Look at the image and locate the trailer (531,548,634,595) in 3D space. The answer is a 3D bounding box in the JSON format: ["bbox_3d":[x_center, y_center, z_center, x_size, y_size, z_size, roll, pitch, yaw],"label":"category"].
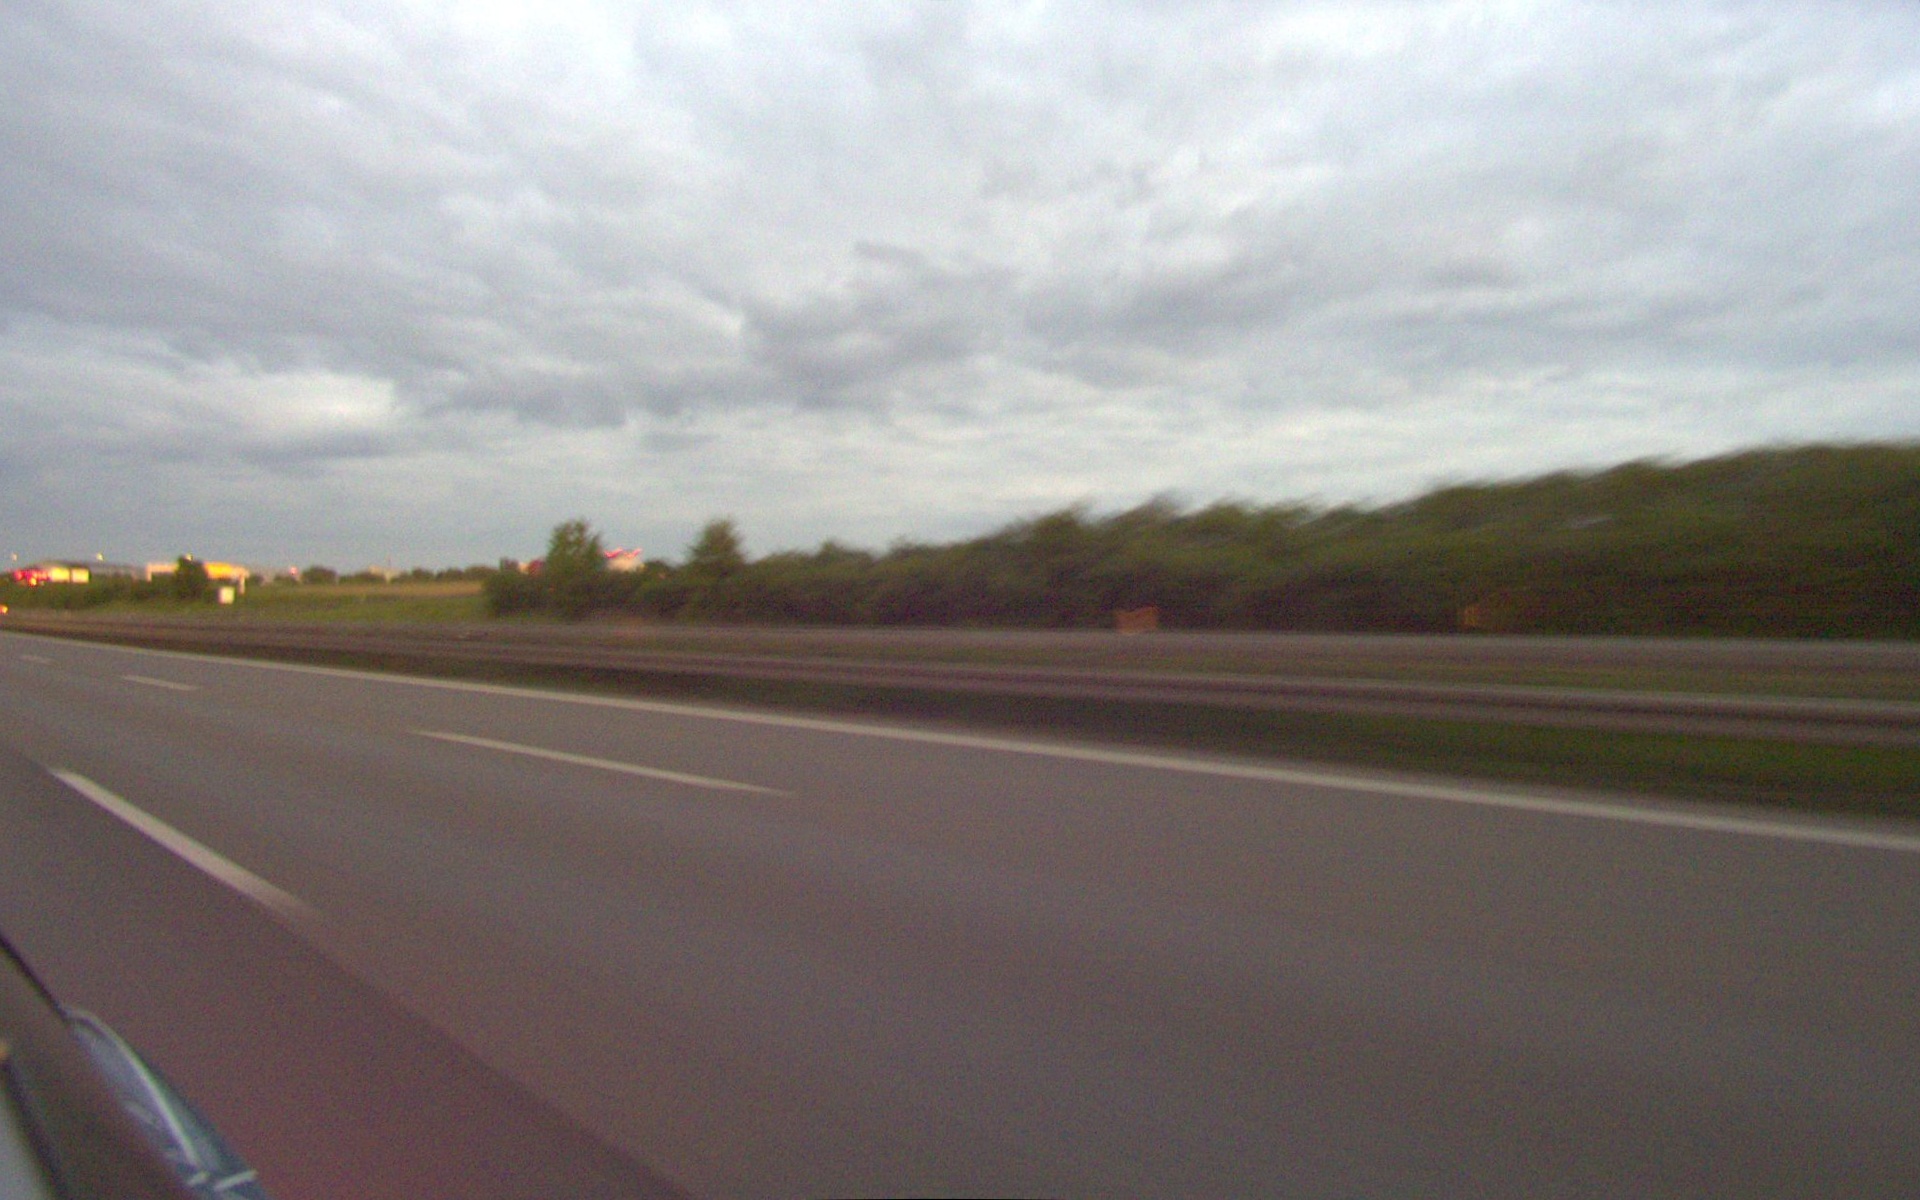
[{"bbox_3d":[-35.919,-2.589,95.937,12.465,4.102,2.667,-1,-1,36],"label":"trailer"}]

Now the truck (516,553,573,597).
[{"bbox_3d":[-40.840,-2.432,99.442,5.466,4.102,2.667,-1,-1,36],"label":"truck"}]
